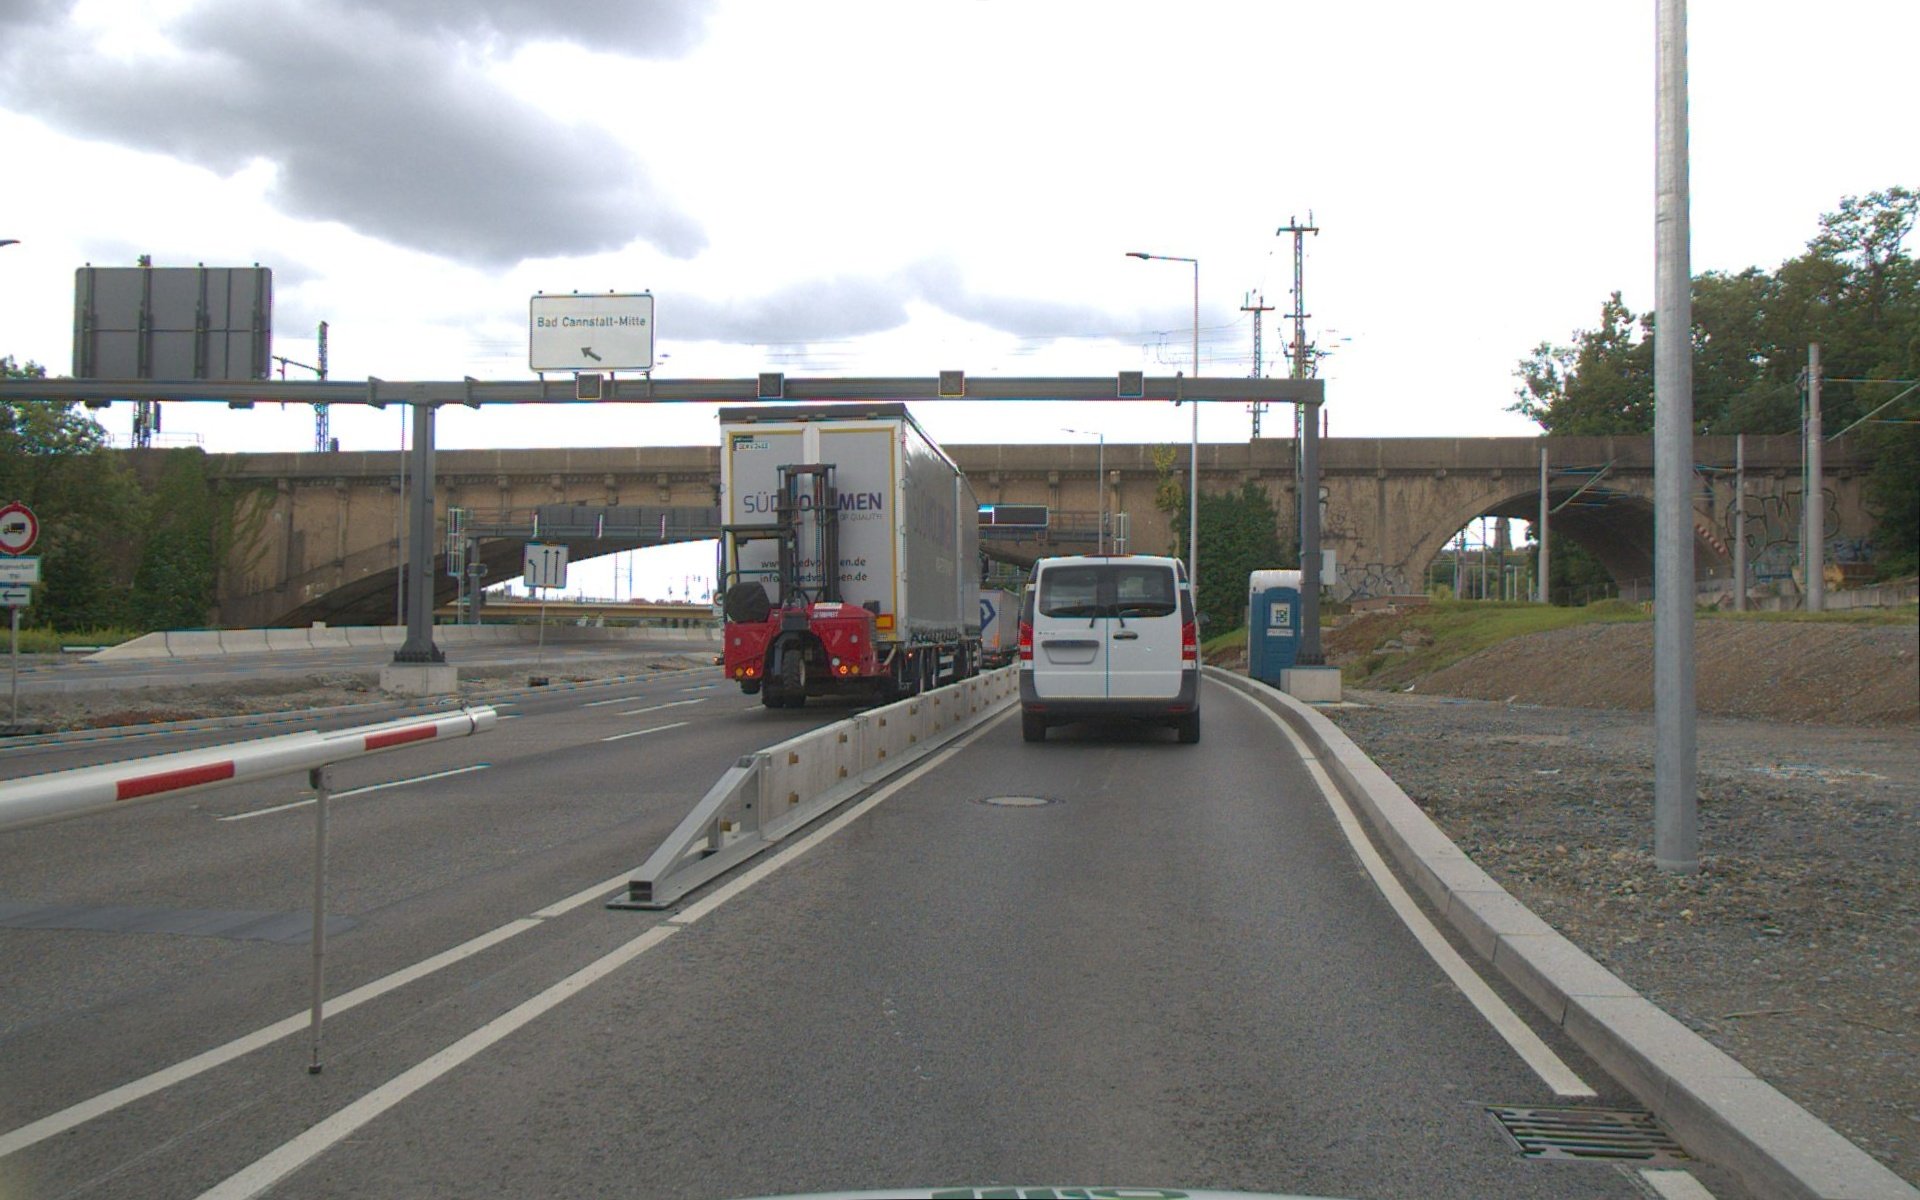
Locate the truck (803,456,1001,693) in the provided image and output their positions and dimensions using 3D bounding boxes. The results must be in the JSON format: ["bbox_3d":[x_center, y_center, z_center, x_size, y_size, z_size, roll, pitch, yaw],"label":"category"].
[{"bbox_3d":[-0.922,-0.356,35.759,2.924,4.249,11.245,1,-1,4],"label":"truck"}]

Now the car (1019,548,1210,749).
[{"bbox_3d":[1.821,0.457,18.434,1.836,1.924,4.757,1,0,8],"label":"car"}]

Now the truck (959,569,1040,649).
[{"bbox_3d":[2.374,0.583,90.589,3.247,3.876,16.601,2,-1,5],"label":"truck"}]

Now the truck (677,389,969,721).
[{"bbox_3d":[-1.687,-0.503,25.739,2.856,4.087,10.205,1,-1,4],"label":"truck"}]
